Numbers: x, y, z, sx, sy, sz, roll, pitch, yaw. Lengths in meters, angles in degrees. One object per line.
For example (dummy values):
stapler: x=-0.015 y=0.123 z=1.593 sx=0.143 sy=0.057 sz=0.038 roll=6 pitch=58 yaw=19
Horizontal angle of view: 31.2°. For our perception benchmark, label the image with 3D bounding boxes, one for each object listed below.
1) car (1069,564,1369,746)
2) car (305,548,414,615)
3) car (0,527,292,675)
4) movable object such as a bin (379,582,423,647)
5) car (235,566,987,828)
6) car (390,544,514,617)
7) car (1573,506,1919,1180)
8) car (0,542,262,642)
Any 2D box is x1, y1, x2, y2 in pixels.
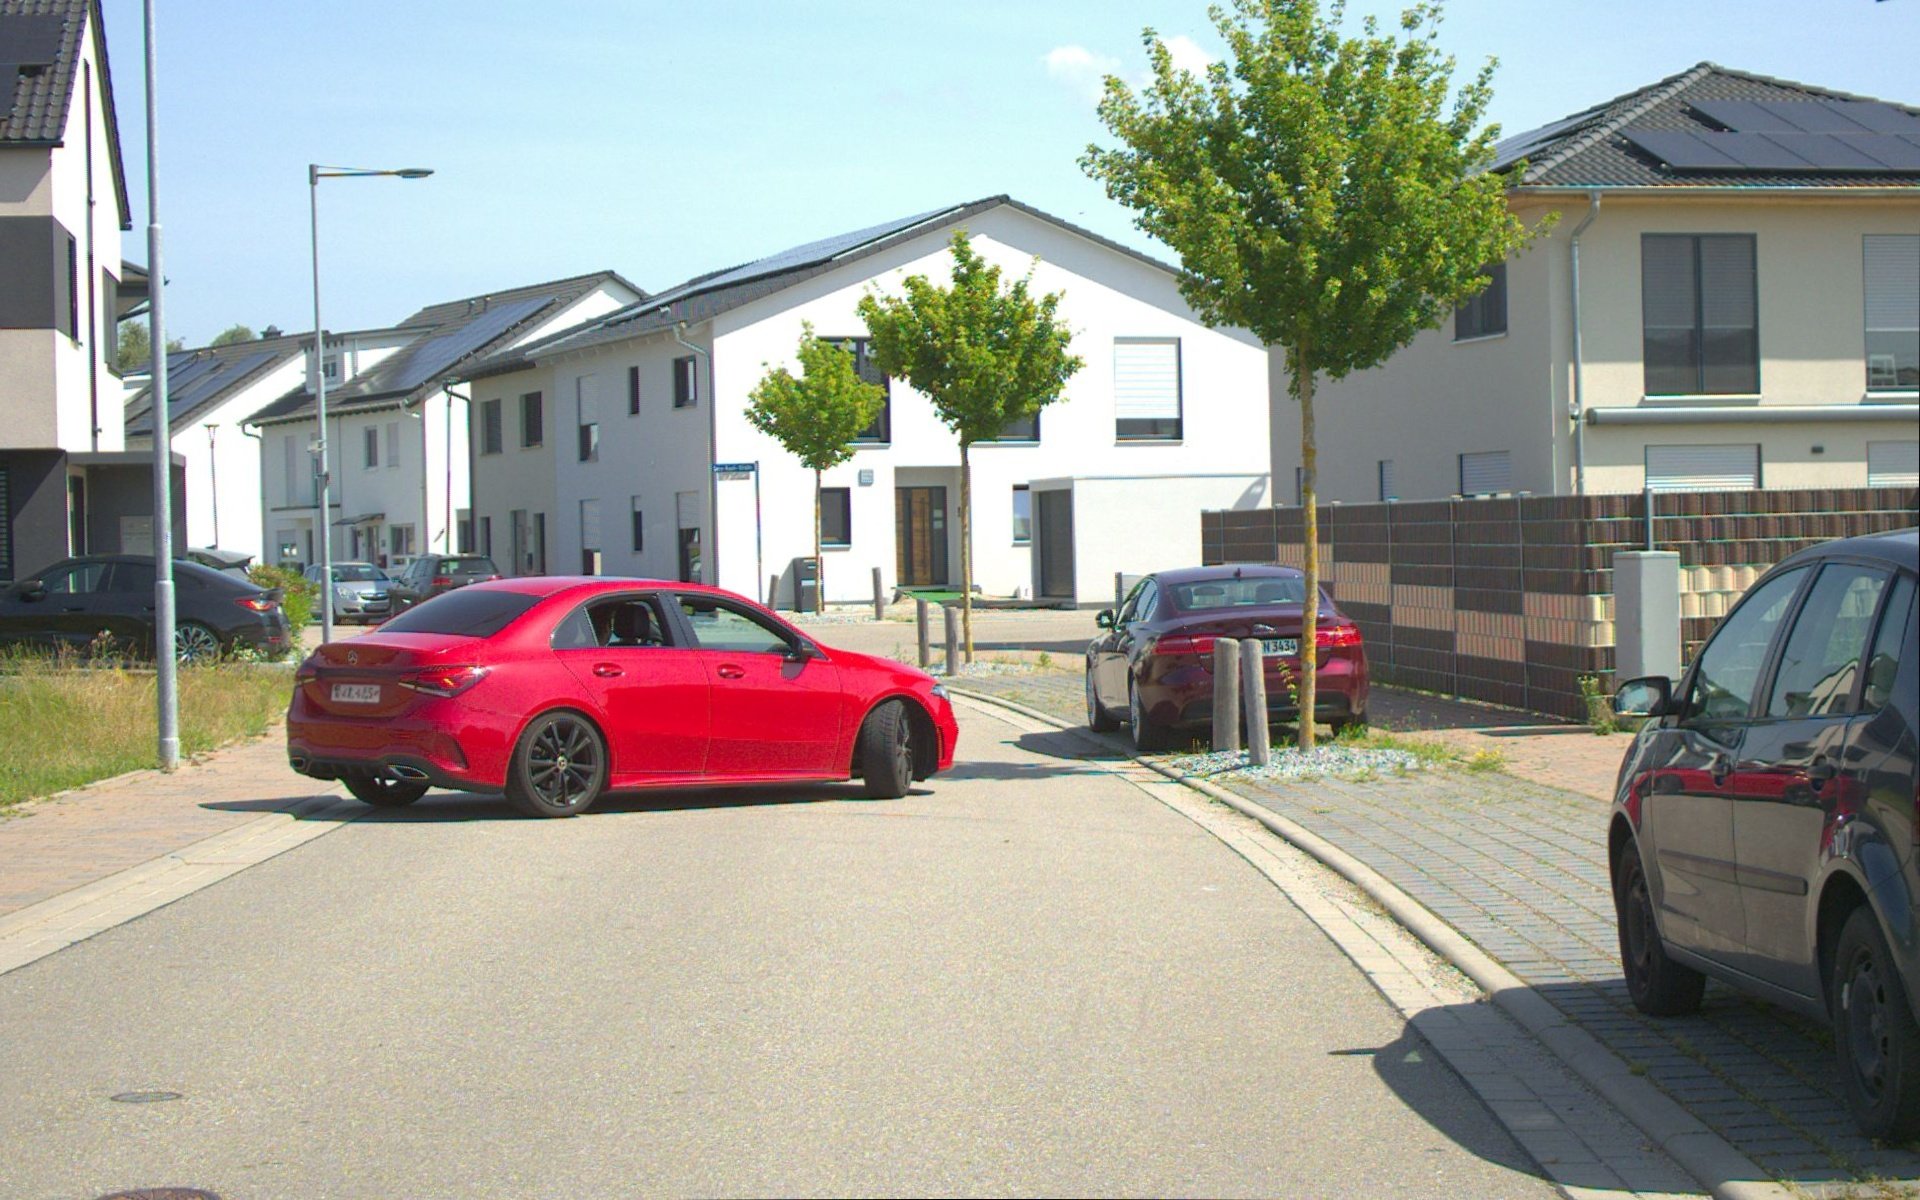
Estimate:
car: x=2.046 y=0.396 z=28.394 sx=1.754 sy=1.358 sz=4.576 roll=0 pitch=1 yaw=-5
car: x=-13.970 y=-0.435 z=79.860 sx=1.676 sy=1.459 sz=3.945 roll=-2 pitch=1 yaw=-22
car: x=-10.141 y=-0.011 z=40.357 sx=4.374 sy=1.626 sz=1.771 roll=1 pitch=0 yaw=-8
movable object such as a bin: x=-8.253 y=0.212 z=50.764 sx=0.534 sy=0.933 sz=0.526 roll=1 pitch=1 yaw=1
car: x=-2.053 y=0.515 z=21.234 sx=4.507 sy=1.433 sz=1.767 roll=-1 pitch=1 yaw=-44
car: x=-10.446 y=-0.407 z=70.498 sx=1.726 sy=1.418 sz=4.001 roll=-2 pitch=1 yaw=-19
car: x=2.820 y=0.500 z=9.335 sx=1.598 sy=1.470 sz=3.675 roll=0 pitch=1 yaw=-1
car: x=-12.902 y=-0.136 z=53.082 sx=3.986 sy=1.481 sz=1.755 roll=-1 pitch=1 yaw=-6
